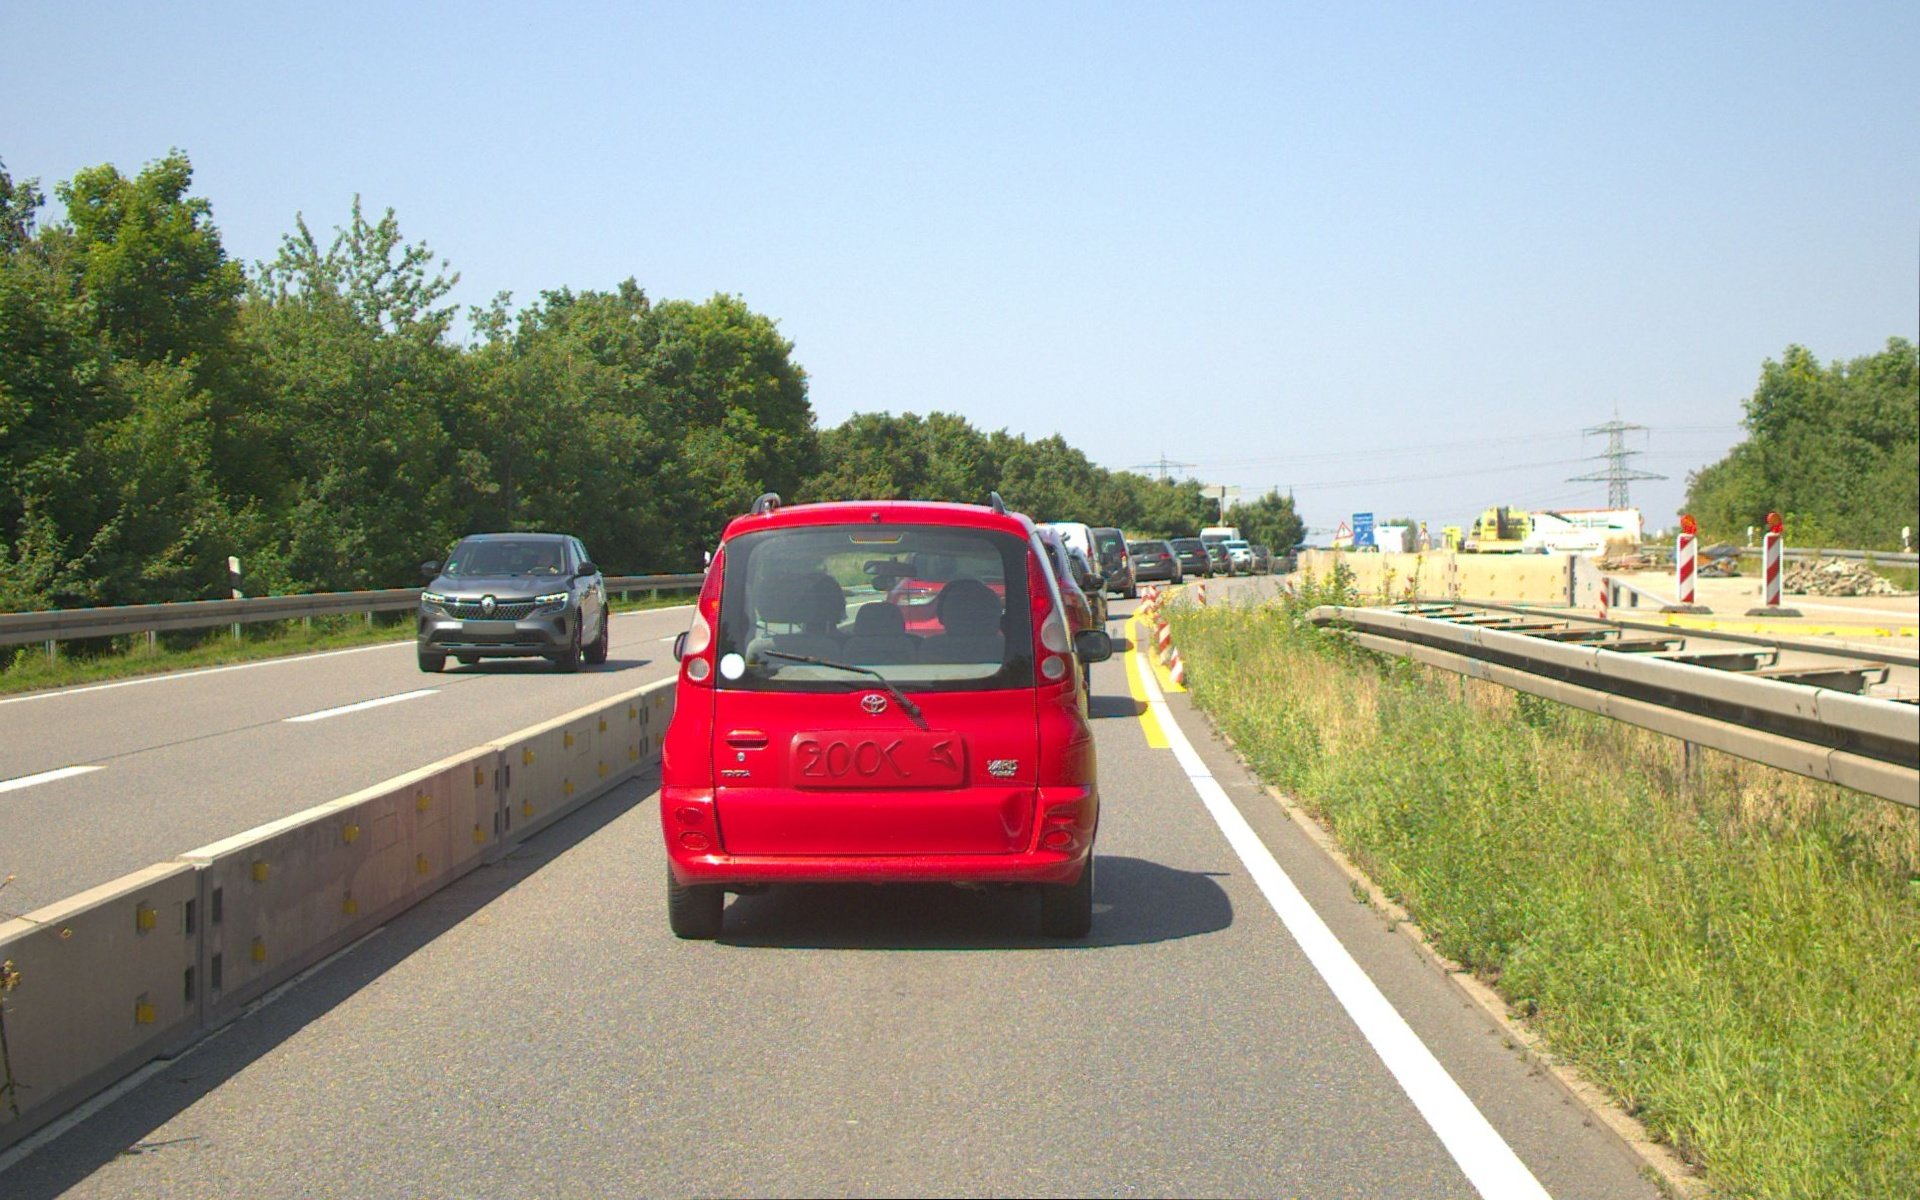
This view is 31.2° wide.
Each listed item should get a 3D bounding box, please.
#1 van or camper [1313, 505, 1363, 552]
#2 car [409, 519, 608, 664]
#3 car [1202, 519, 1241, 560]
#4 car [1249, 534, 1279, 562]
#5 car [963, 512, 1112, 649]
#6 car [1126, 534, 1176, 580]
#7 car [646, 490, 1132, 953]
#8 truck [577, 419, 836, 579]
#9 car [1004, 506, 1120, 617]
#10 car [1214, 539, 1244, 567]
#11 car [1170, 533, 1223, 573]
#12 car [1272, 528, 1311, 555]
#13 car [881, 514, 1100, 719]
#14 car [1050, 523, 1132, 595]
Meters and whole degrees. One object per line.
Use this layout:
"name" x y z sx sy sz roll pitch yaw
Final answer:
"van or camper" 22.078 -4.171 200.741 2.328 2.697 4.593 -1 1 -1
"car" -5.340 -0.134 41.148 1.857 1.632 4.385 0 1 -1
"car" 11.339 -2.614 149.262 1.502 1.730 3.170 -1 1 2
"car" 15.868 -2.721 179.677 1.502 1.446 3.170 0 1 4
"car" 1.083 -0.301 48.232 1.993 1.831 4.000 0 1 1
"car" 6.221 -1.408 112.004 1.502 1.446 3.325 -1 1 1
"car" -0.267 0.409 14.390 1.751 1.667 4.000 0 1 0
"truck" -8.882 -3.542 121.086 8.621 5.357 3.389 -1 1 3
"car" 1.867 -0.726 64.160 1.993 1.997 4.000 0 1 0
"car" 12.959 -2.275 165.616 1.421 1.294 2.879 0 1 4
"car" 9.395 -1.877 136.273 1.994 1.579 3.999 0 1 5
"car" 19.633 -3.472 203.834 1.993 1.546 4.000 -1 1 1
"car" 0.307 0.099 30.822 1.830 1.716 4.000 0 1 2
"car" 3.280 -1.039 86.340 1.993 1.744 4.000 0 1 2
